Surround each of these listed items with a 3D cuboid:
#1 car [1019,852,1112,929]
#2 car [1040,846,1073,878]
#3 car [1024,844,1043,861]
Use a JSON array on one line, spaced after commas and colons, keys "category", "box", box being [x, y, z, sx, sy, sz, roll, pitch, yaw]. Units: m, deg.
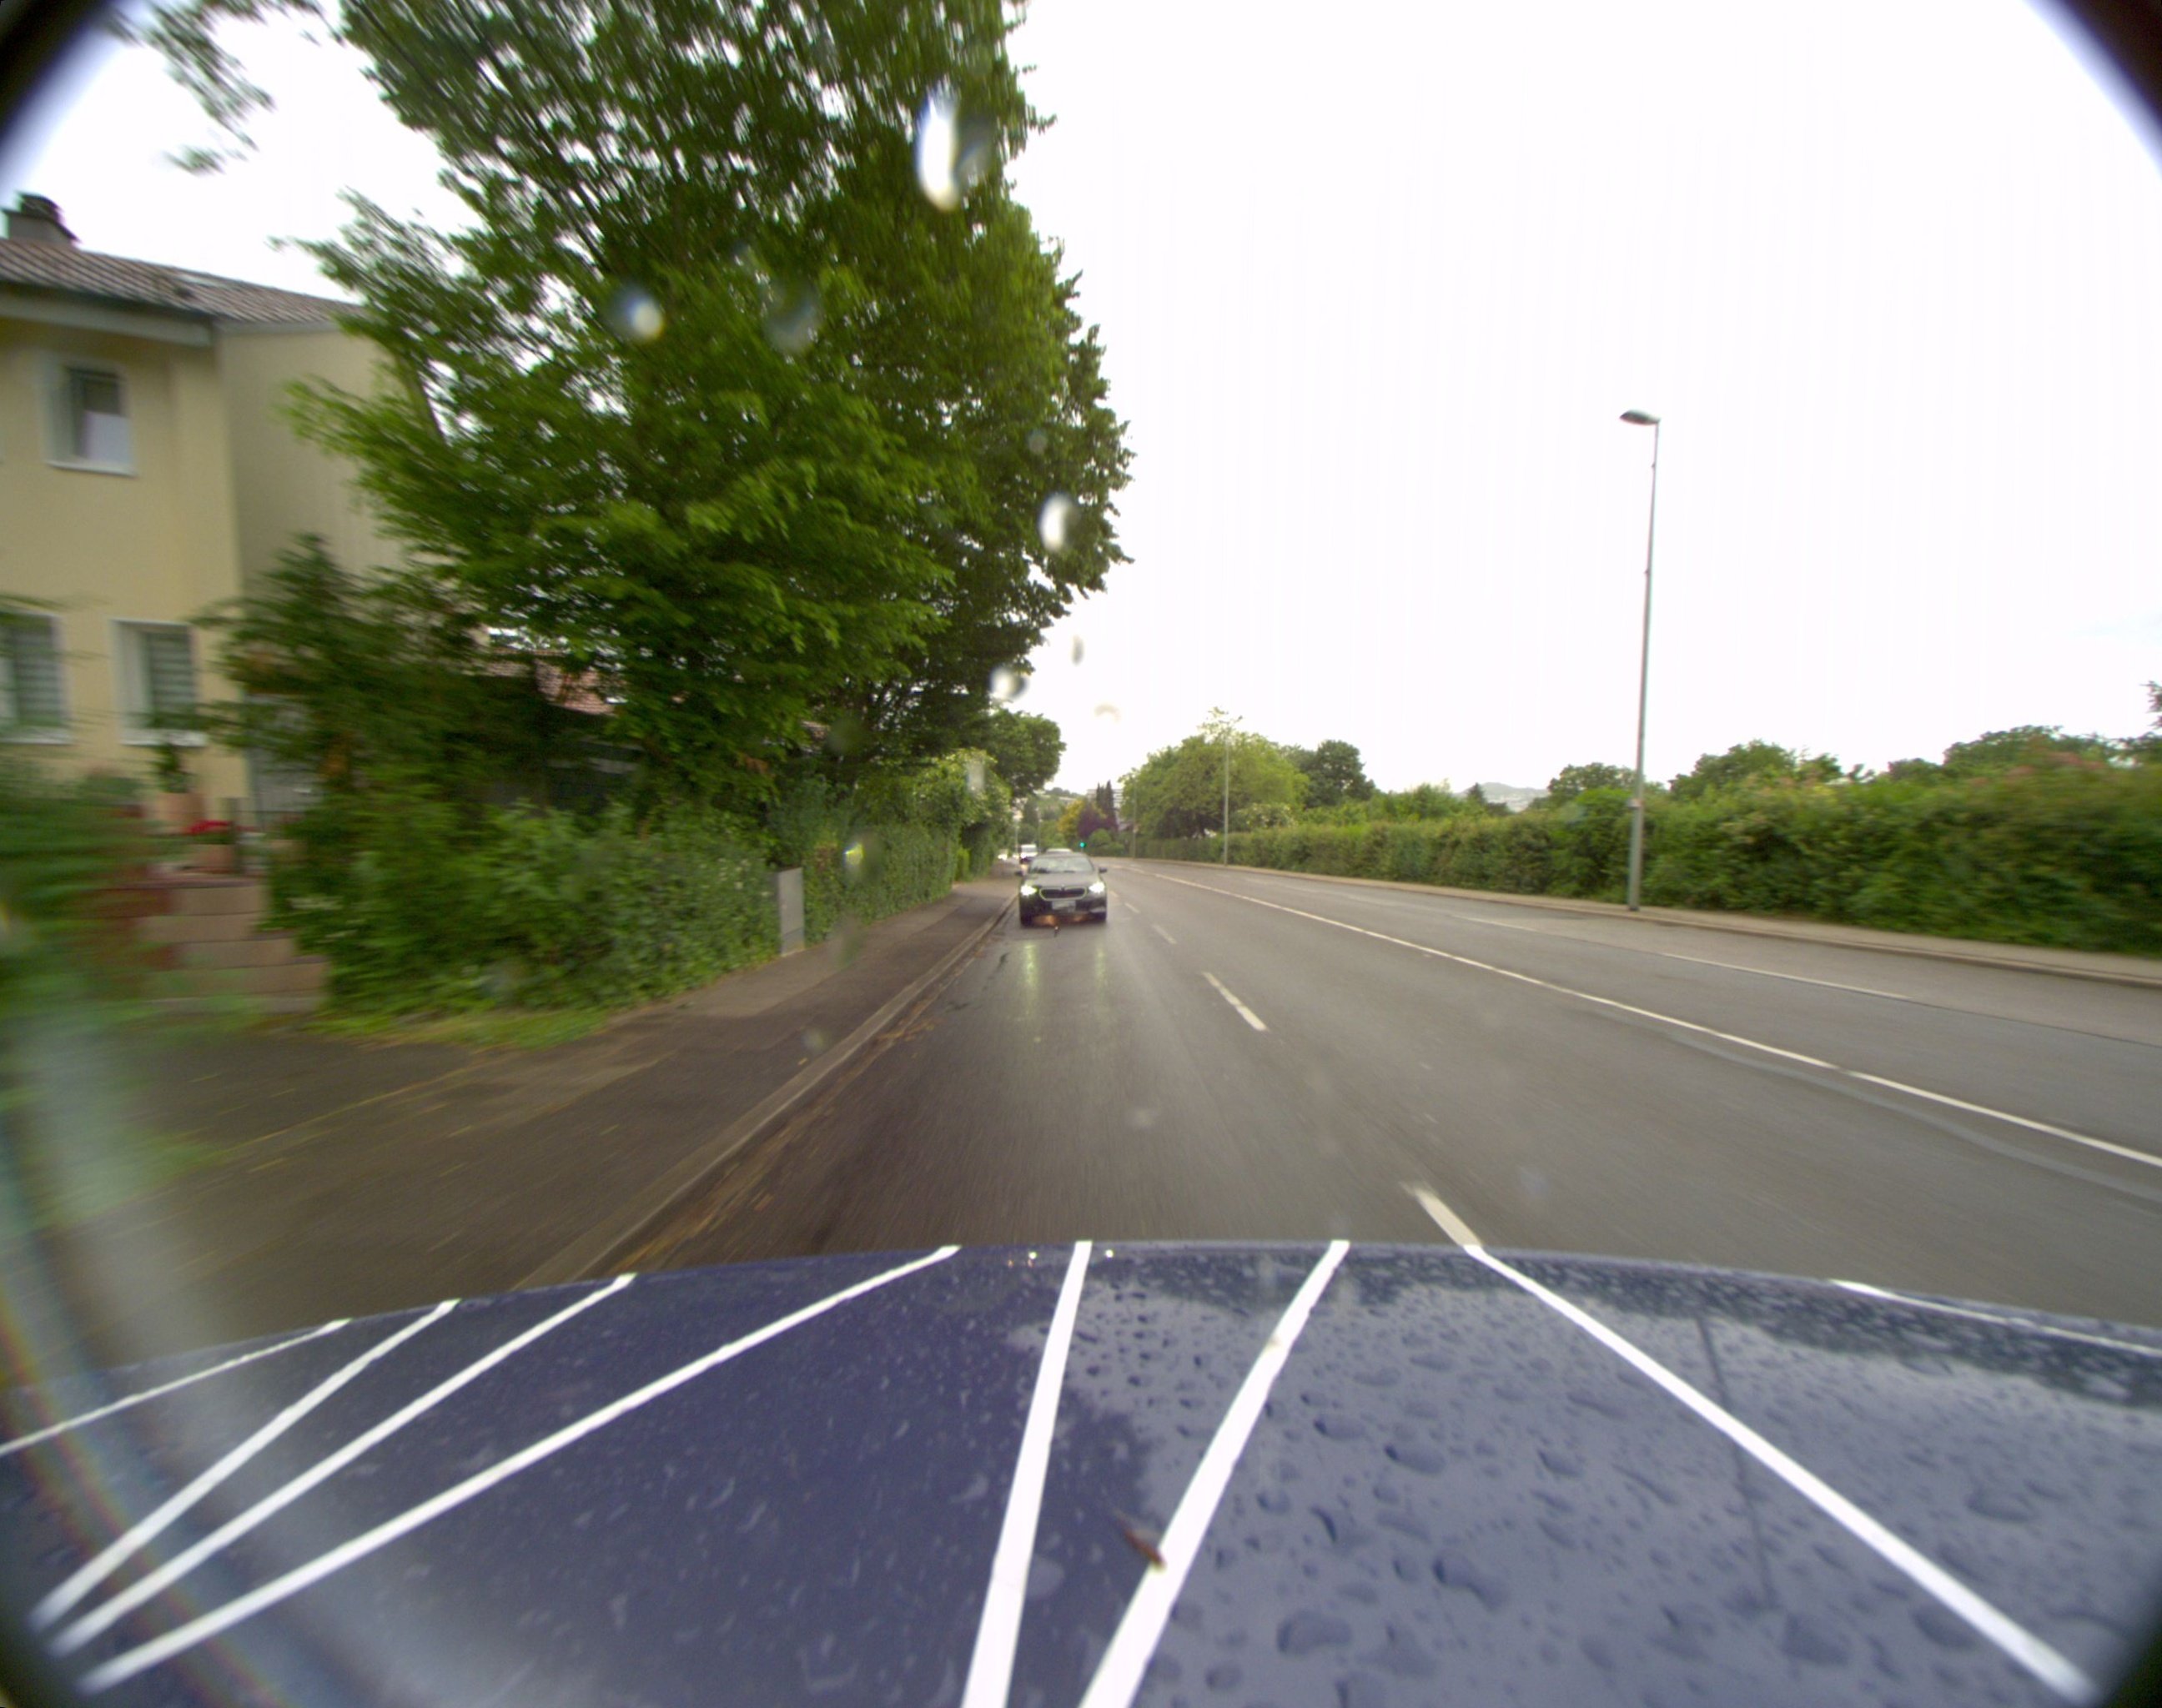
[{"category": "car", "box": [-0.420, 0.752, 17.736, 1.846, 1.371, 4.280, -3, 2, -3]}, {"category": "car", "box": [-1.338, 0.372, 39.662, 1.551, 1.505, 4.280, 0, 1, -4]}, {"category": "car", "box": [-4.791, -0.182, 76.434, 1.704, 1.670, 4.280, -1, 1, -7]}]
